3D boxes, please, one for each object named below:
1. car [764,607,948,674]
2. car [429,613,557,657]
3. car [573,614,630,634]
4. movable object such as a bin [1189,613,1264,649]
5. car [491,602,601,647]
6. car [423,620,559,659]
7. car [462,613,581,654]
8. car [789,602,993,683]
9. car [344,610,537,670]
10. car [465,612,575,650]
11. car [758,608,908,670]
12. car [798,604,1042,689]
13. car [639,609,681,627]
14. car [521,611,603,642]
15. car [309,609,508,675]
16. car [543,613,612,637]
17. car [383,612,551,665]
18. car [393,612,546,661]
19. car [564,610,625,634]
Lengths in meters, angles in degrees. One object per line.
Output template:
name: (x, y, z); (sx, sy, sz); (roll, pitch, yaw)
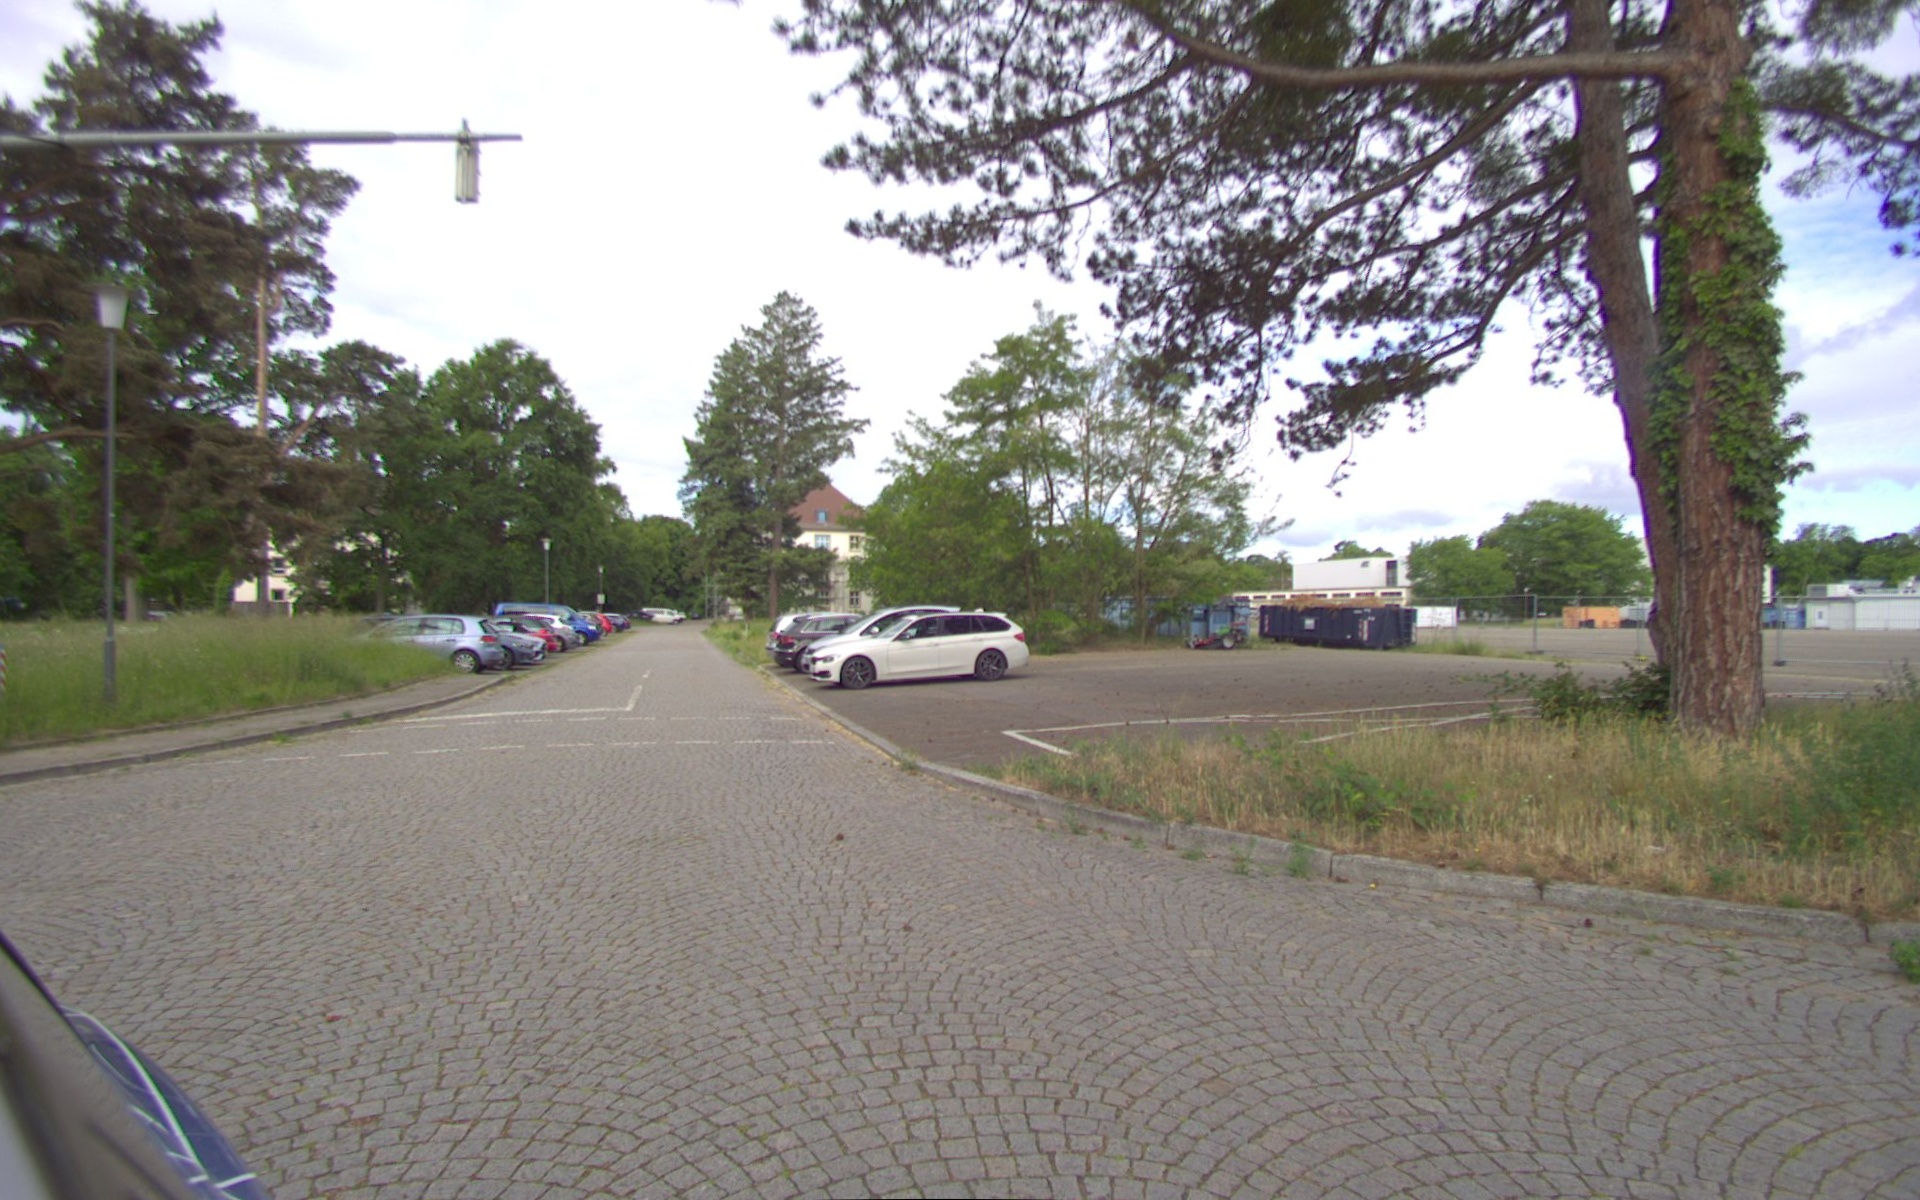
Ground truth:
car: (-2.679, 0.995, 25.886); (4.373, 1.435, 1.727); (-3, 0, -17)
car: (-17.007, 1.275, 37.023); (3.986, 1.528, 1.604); (1, -1, -12)
car: (-28.652, 1.930, 81.051); (4.032, 1.545, 1.729); (1, -1, -8)
movable object such as a bin: (8.670, 1.001, 32.964); (2.230, 1.134, 0.861); (1, -1, -17)
car: (-19.547, 1.149, 47.936); (4.529, 2.021, 1.917); (1, -1, -13)
car: (-15.923, 1.338, 34.541); (3.985, 1.250, 1.554); (1, -1, -14)
car: (-17.213, 1.330, 39.899); (4.033, 1.528, 1.704); (1, -1, -12)
car: (-1.608, 0.933, 23.430); (4.301, 1.610, 1.879); (-2, 0, -21)
car: (-13.919, 1.079, 27.390); (4.367, 1.394, 1.669); (3, -2, -16)
car: (-18.449, 1.297, 42.604); (3.986, 1.528, 1.604); (1, -1, -12)
car: (-3.577, 1.064, 28.422); (3.895, 1.481, 1.590); (-2, 0, -18)
car: (-0.864, 0.914, 20.979); (4.673, 1.499, 1.872); (-2, -1, -17)
car: (-38.259, 2.301, 129.001); (5.063, 2.165, 1.780); (1, -1, -18)
car: (-22.168, 1.484, 56.470); (4.019, 1.605, 1.658); (1, -1, -12)
car: (-13.381, 1.024, 24.807); (3.945, 1.439, 1.703); (3, -2, -16)
car: (-25.078, 1.639, 66.400); (4.019, 1.455, 1.731); (1, -1, -13)
car: (-14.548, 1.129, 30.070); (4.180, 1.485, 1.721); (1, -1, -13)
car: (-15.591, 1.156, 32.364); (4.116, 1.493, 1.722); (1, -1, -14)
car: (-27.594, 1.672, 76.471); (4.022, 1.708, 1.729); (1, -1, -8)
